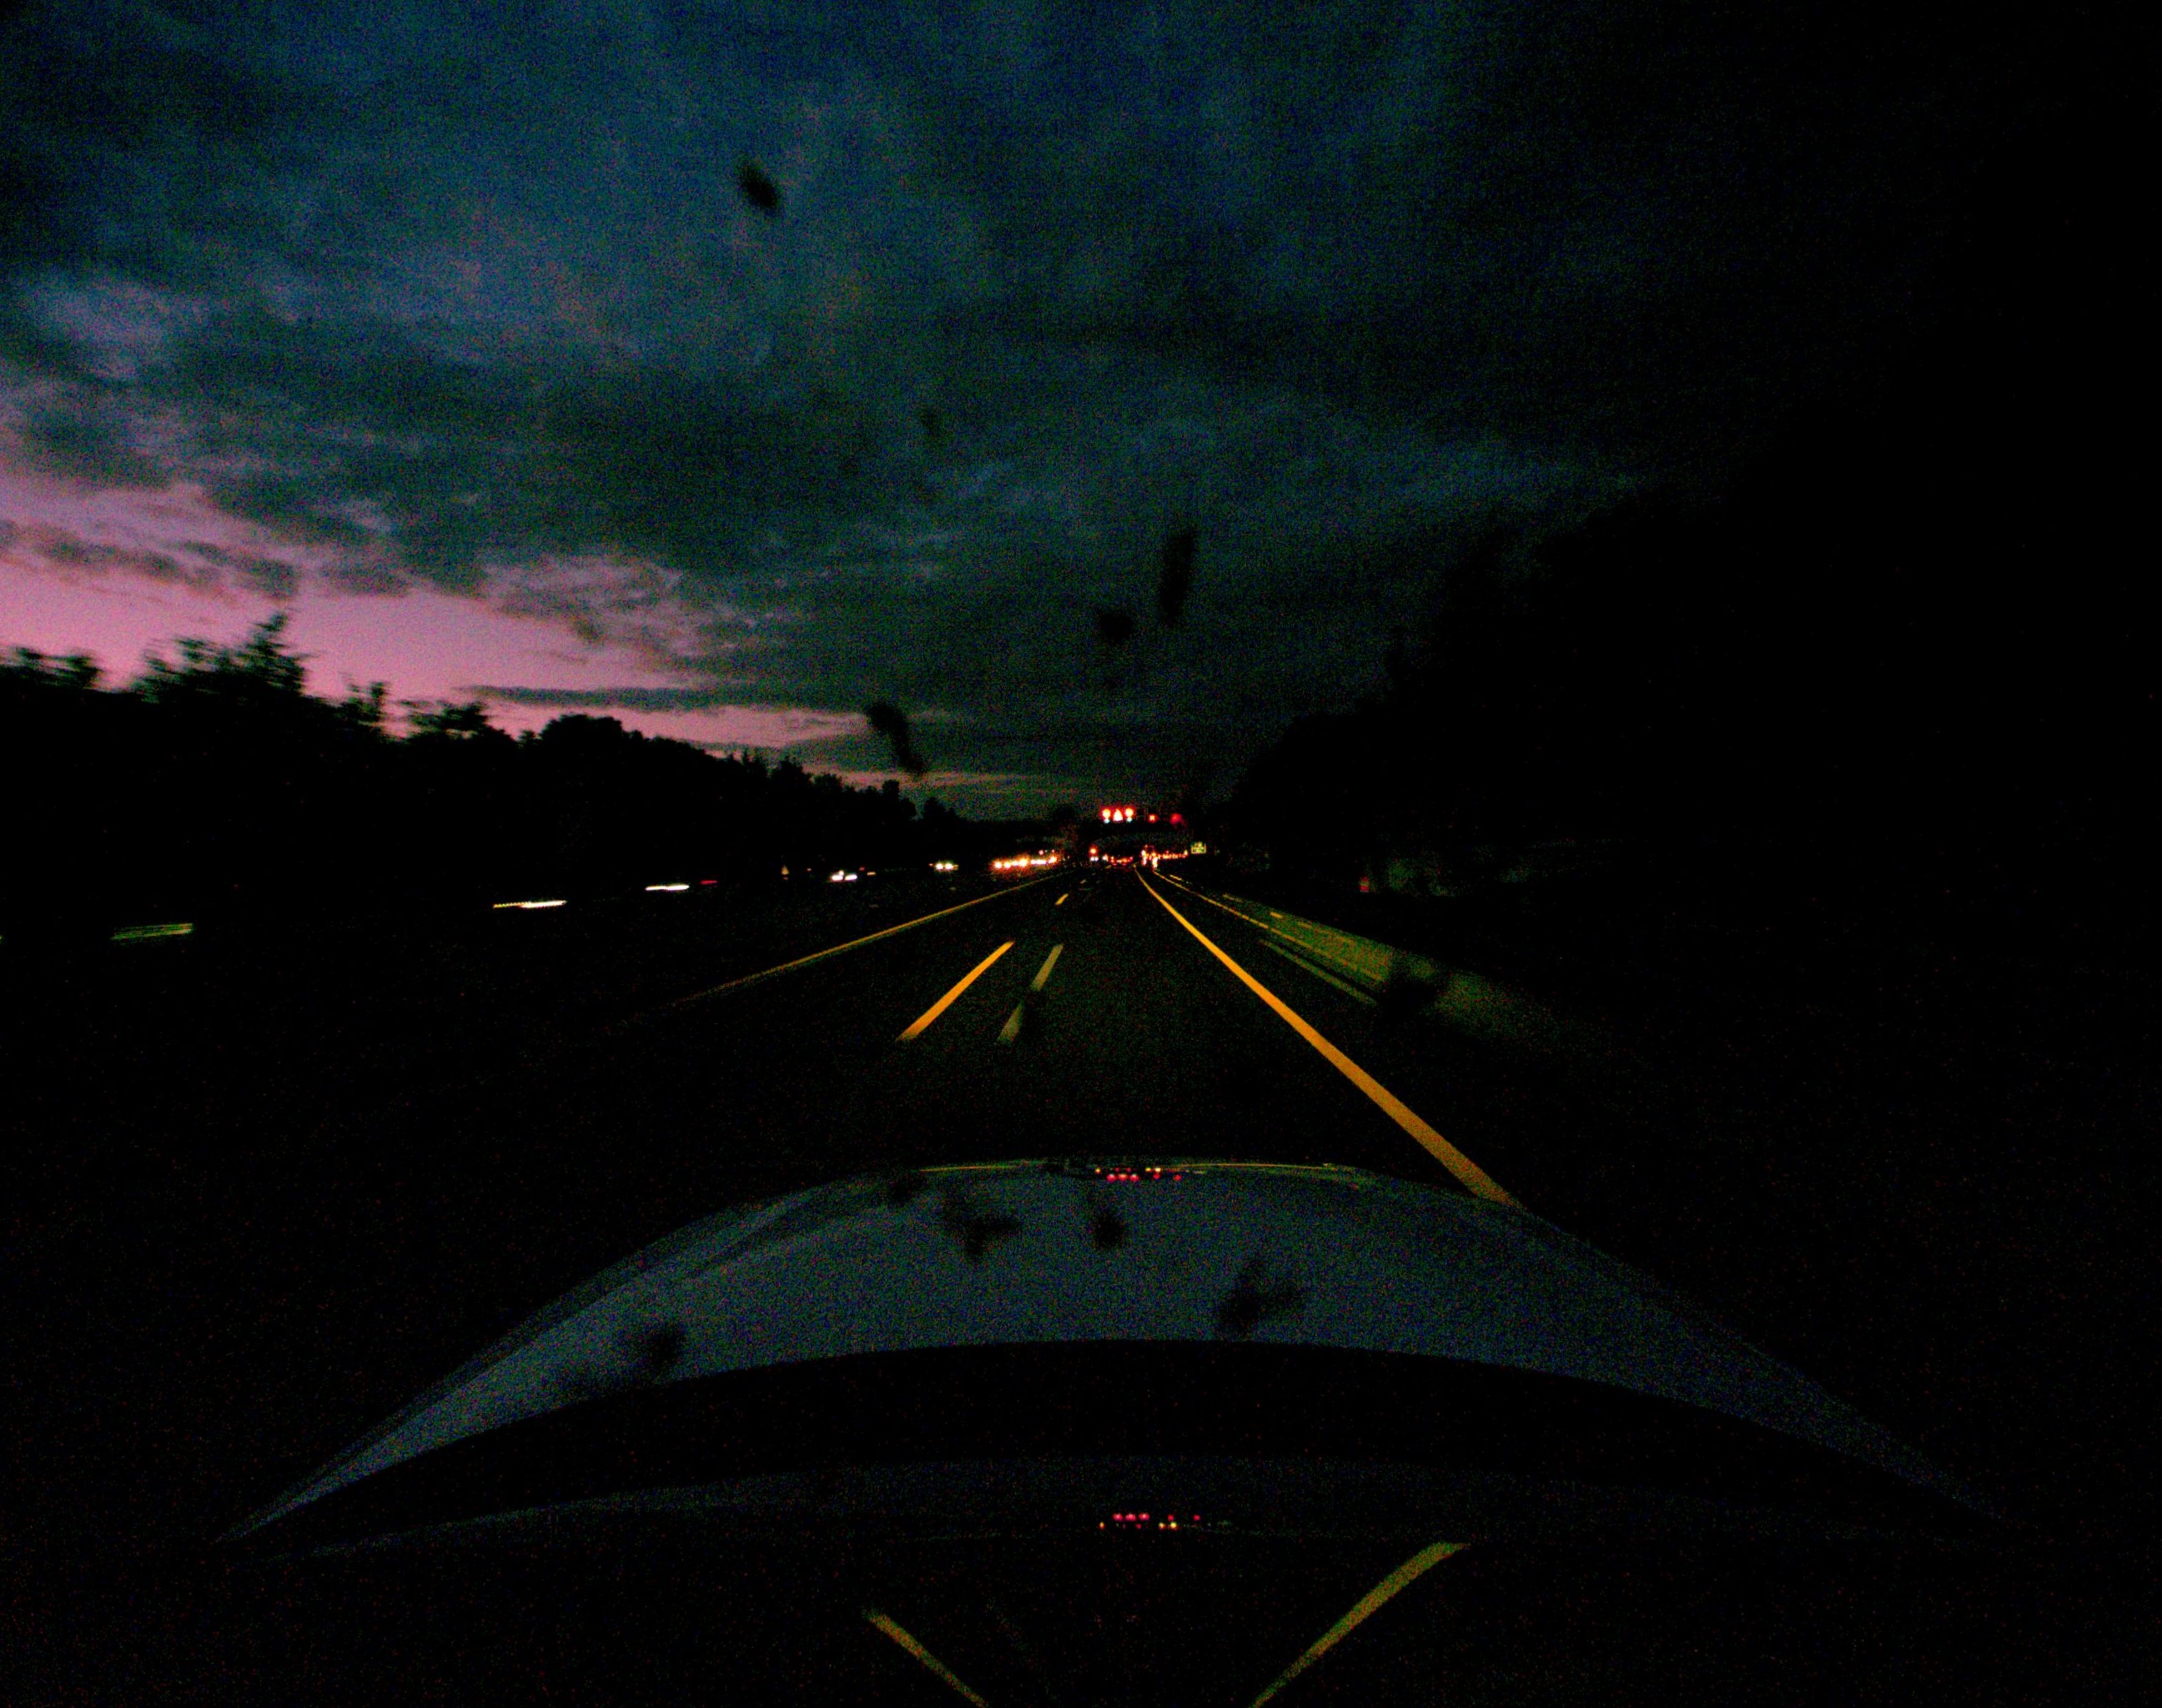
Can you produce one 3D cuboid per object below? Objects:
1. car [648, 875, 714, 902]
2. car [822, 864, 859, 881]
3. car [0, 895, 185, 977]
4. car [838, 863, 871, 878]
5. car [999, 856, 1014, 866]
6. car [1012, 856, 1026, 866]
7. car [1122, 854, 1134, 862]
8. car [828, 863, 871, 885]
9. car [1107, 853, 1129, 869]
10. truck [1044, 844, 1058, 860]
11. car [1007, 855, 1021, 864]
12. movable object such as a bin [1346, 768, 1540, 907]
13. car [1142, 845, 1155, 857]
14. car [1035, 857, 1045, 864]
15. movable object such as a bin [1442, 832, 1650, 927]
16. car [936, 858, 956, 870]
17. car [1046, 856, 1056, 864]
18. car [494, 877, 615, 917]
[{"bbox_3d":[-23.995,2.042,49.018,1.657,1.507,4.182,0,0,4],"label":"car"},{"bbox_3d":[-22.524,1.684,76.339,1.802,1.485,4.706,0,0,4],"label":"car"},{"bbox_3d":[-25.671,1.977,20.140,1.744,1.722,4.672,0,0,2],"label":"car"},{"bbox_3d":[-23.616,1.677,85.169,1.817,1.485,4.706,0,0,4],"label":"car"},{"bbox_3d":[-12.307,1.179,134.288,1.671,1.638,4.757,0,0,4],"label":"car"},{"bbox_3d":[-11.219,1.259,148.320,1.796,1.638,4.757,0,0,4],"label":"car"},{"bbox_3d":[8.655,0.695,149.112,1.961,1.437,4.008,0,0,7],"label":"car"},{"bbox_3d":[-19.291,1.666,68.091,1.892,1.738,4.813,0,0,4],"label":"car"},{"bbox_3d":[3.977,0.768,88.479,2.257,1.621,4.001,0,0,1],"label":"car"},{"bbox_3d":[-8.095,-0.522,220.009,2.763,4.171,6.396,0,0,6],"label":"truck"},{"bbox_3d":[-12.803,1.107,155.555,1.729,1.638,5.176,0,0,4],"label":"car"},{"bbox_3d":[9.265,-0.361,21.647,2.611,3.108,5.808,-2,0,1],"label":"movable object such as a bin"},{"bbox_3d":[19.699,-0.759,238.320,3.590,3.395,8.021,0,0,3],"label":"car"},{"bbox_3d":[-9.136,1.379,181.626,1.583,1.604,5.042,0,0,6],"label":"car"},{"bbox_3d":[9.255,0.486,16.678,1.986,1.601,4.087,-3,-1,2],"label":"movable object such as a bin"},{"bbox_3d":[-20.047,1.485,120.971,1.796,1.638,4.757,0,0,4],"label":"car"},{"bbox_3d":[-6.616,1.341,178.474,1.729,1.638,4.897,0,0,4],"label":"car"},{"bbox_3d":[-21.747,1.734,33.912,1.743,1.454,4.674,0,0,4],"label":"car"}]
